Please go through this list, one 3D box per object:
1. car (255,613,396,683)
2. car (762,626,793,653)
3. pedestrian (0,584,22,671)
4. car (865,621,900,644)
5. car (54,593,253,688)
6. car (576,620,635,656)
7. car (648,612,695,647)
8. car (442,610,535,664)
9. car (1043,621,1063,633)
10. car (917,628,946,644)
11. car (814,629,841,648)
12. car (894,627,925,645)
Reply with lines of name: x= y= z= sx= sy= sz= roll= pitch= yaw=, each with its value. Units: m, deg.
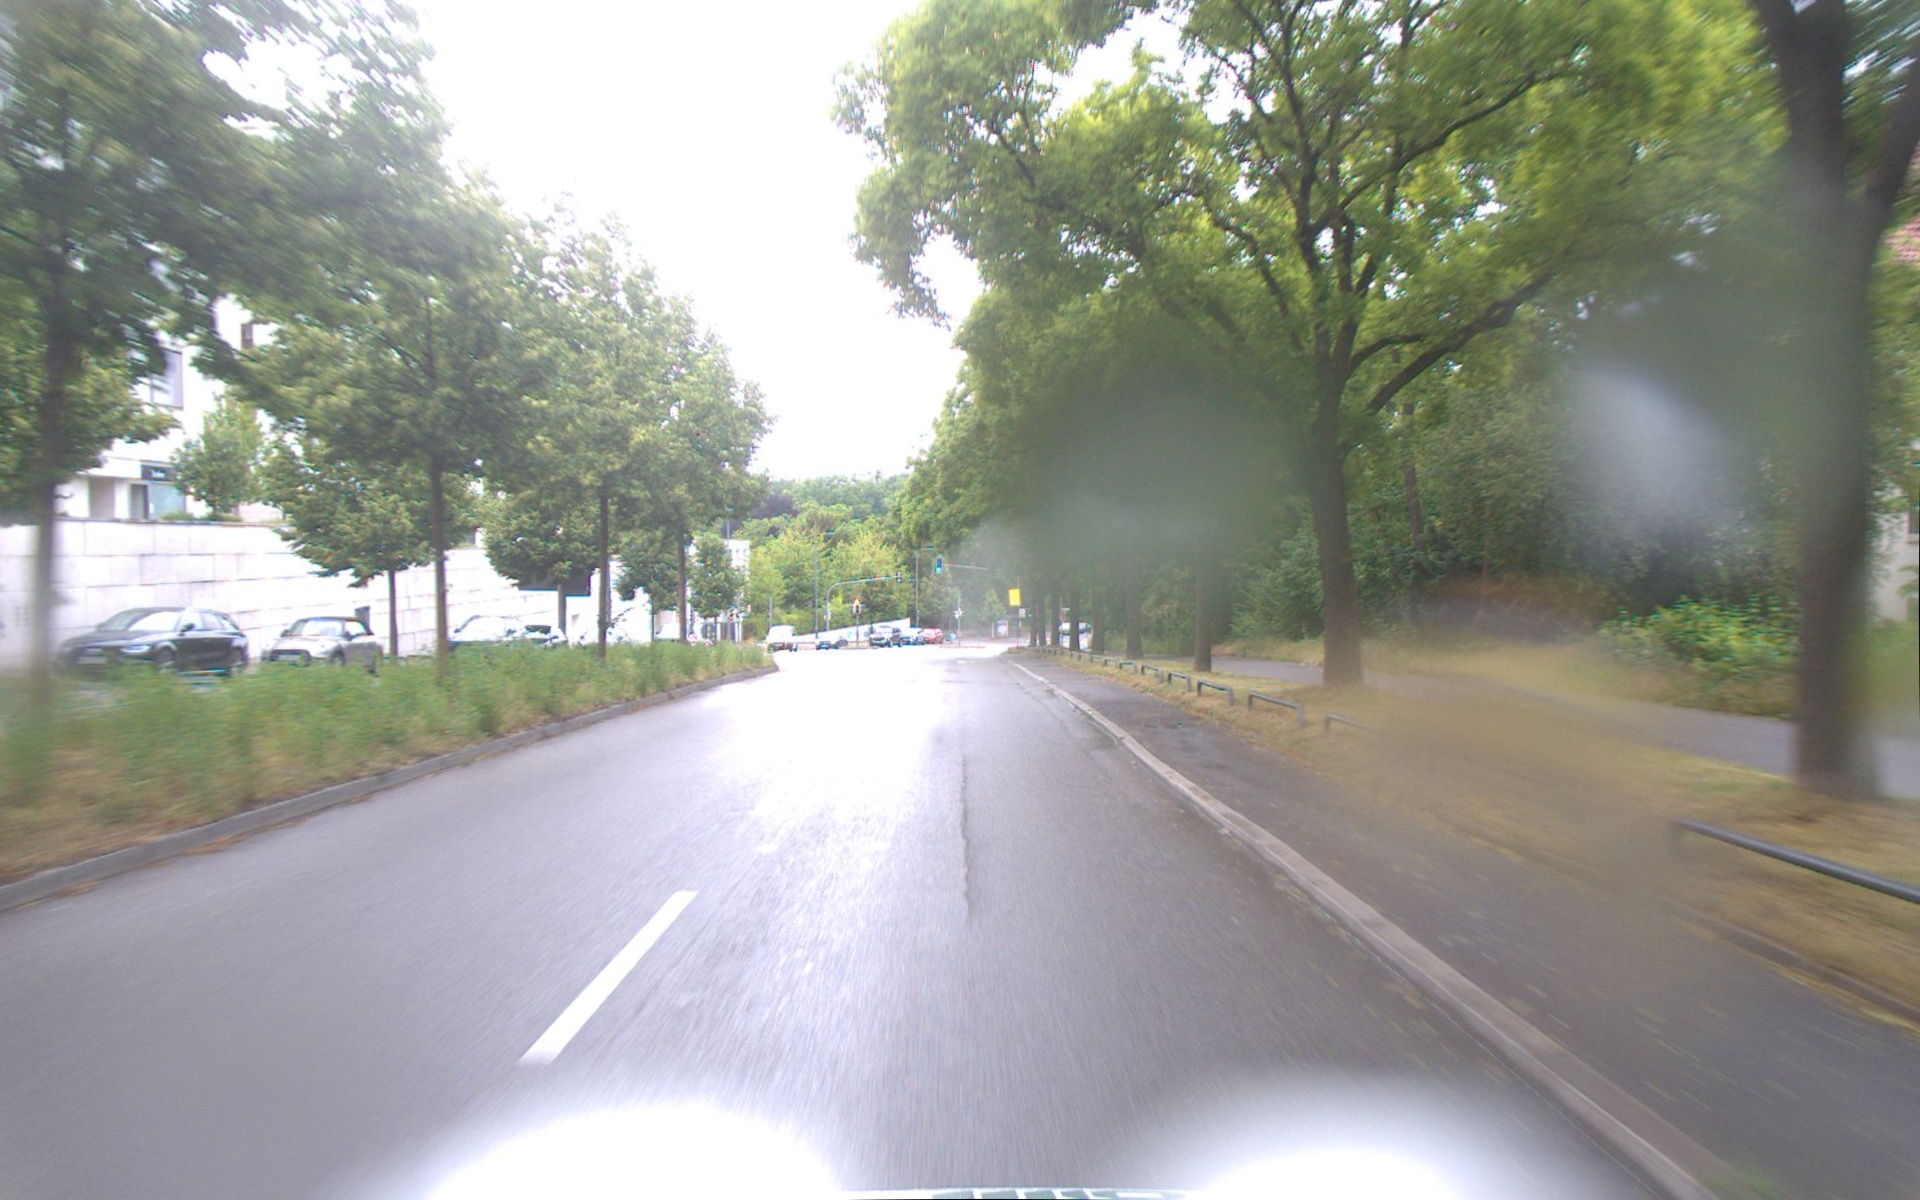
car: x=-14.824 y=1.091 z=38.862 sx=1.660 sy=1.469 sz=3.861 roll=2 pitch=0 yaw=2
car: x=-12.421 y=2.661 z=112.716 sx=1.675 sy=1.777 sz=4.336 roll=0 pitch=-1 yaw=-1
pedestrian: x=-20.316 y=0.574 z=34.829 sx=0.704 sy=1.806 sz=0.691 roll=0 pitch=-1 yaw=-1
car: x=-6.850 y=2.882 z=146.750 sx=1.880 sy=1.889 sz=4.510 roll=-4 pitch=-1 yaw=13
car: x=-14.728 y=0.702 z=30.464 sx=1.660 sy=1.609 sz=4.017 roll=1 pitch=0 yaw=0
car: x=-14.746 y=1.579 z=69.022 sx=1.645 sy=1.451 sz=3.963 roll=1 pitch=-1 yaw=-1
car: x=-15.282 y=1.575 z=87.870 sx=1.819 sy=1.812 sz=4.594 roll=-1 pitch=-1 yaw=-2
car: x=-14.803 y=1.181 z=52.144 sx=1.668 sy=1.649 sz=4.361 roll=0 pitch=-2 yaw=0
car: x=12.547 y=3.615 z=222.607 sx=1.677 sy=1.486 sz=3.751 roll=0 pitch=-2 yaw=18
car: x=-2.934 y=3.724 z=170.379 sx=1.835 sy=1.602 sz=4.225 roll=2 pitch=-1 yaw=15
car: x=-10.371 y=3.041 z=129.684 sx=1.734 sy=1.405 sz=4.189 roll=-2 pitch=-1 yaw=0
car: x=-5.000 y=3.568 z=163.511 sx=1.814 sy=1.668 sz=4.096 roll=3 pitch=0 yaw=17
